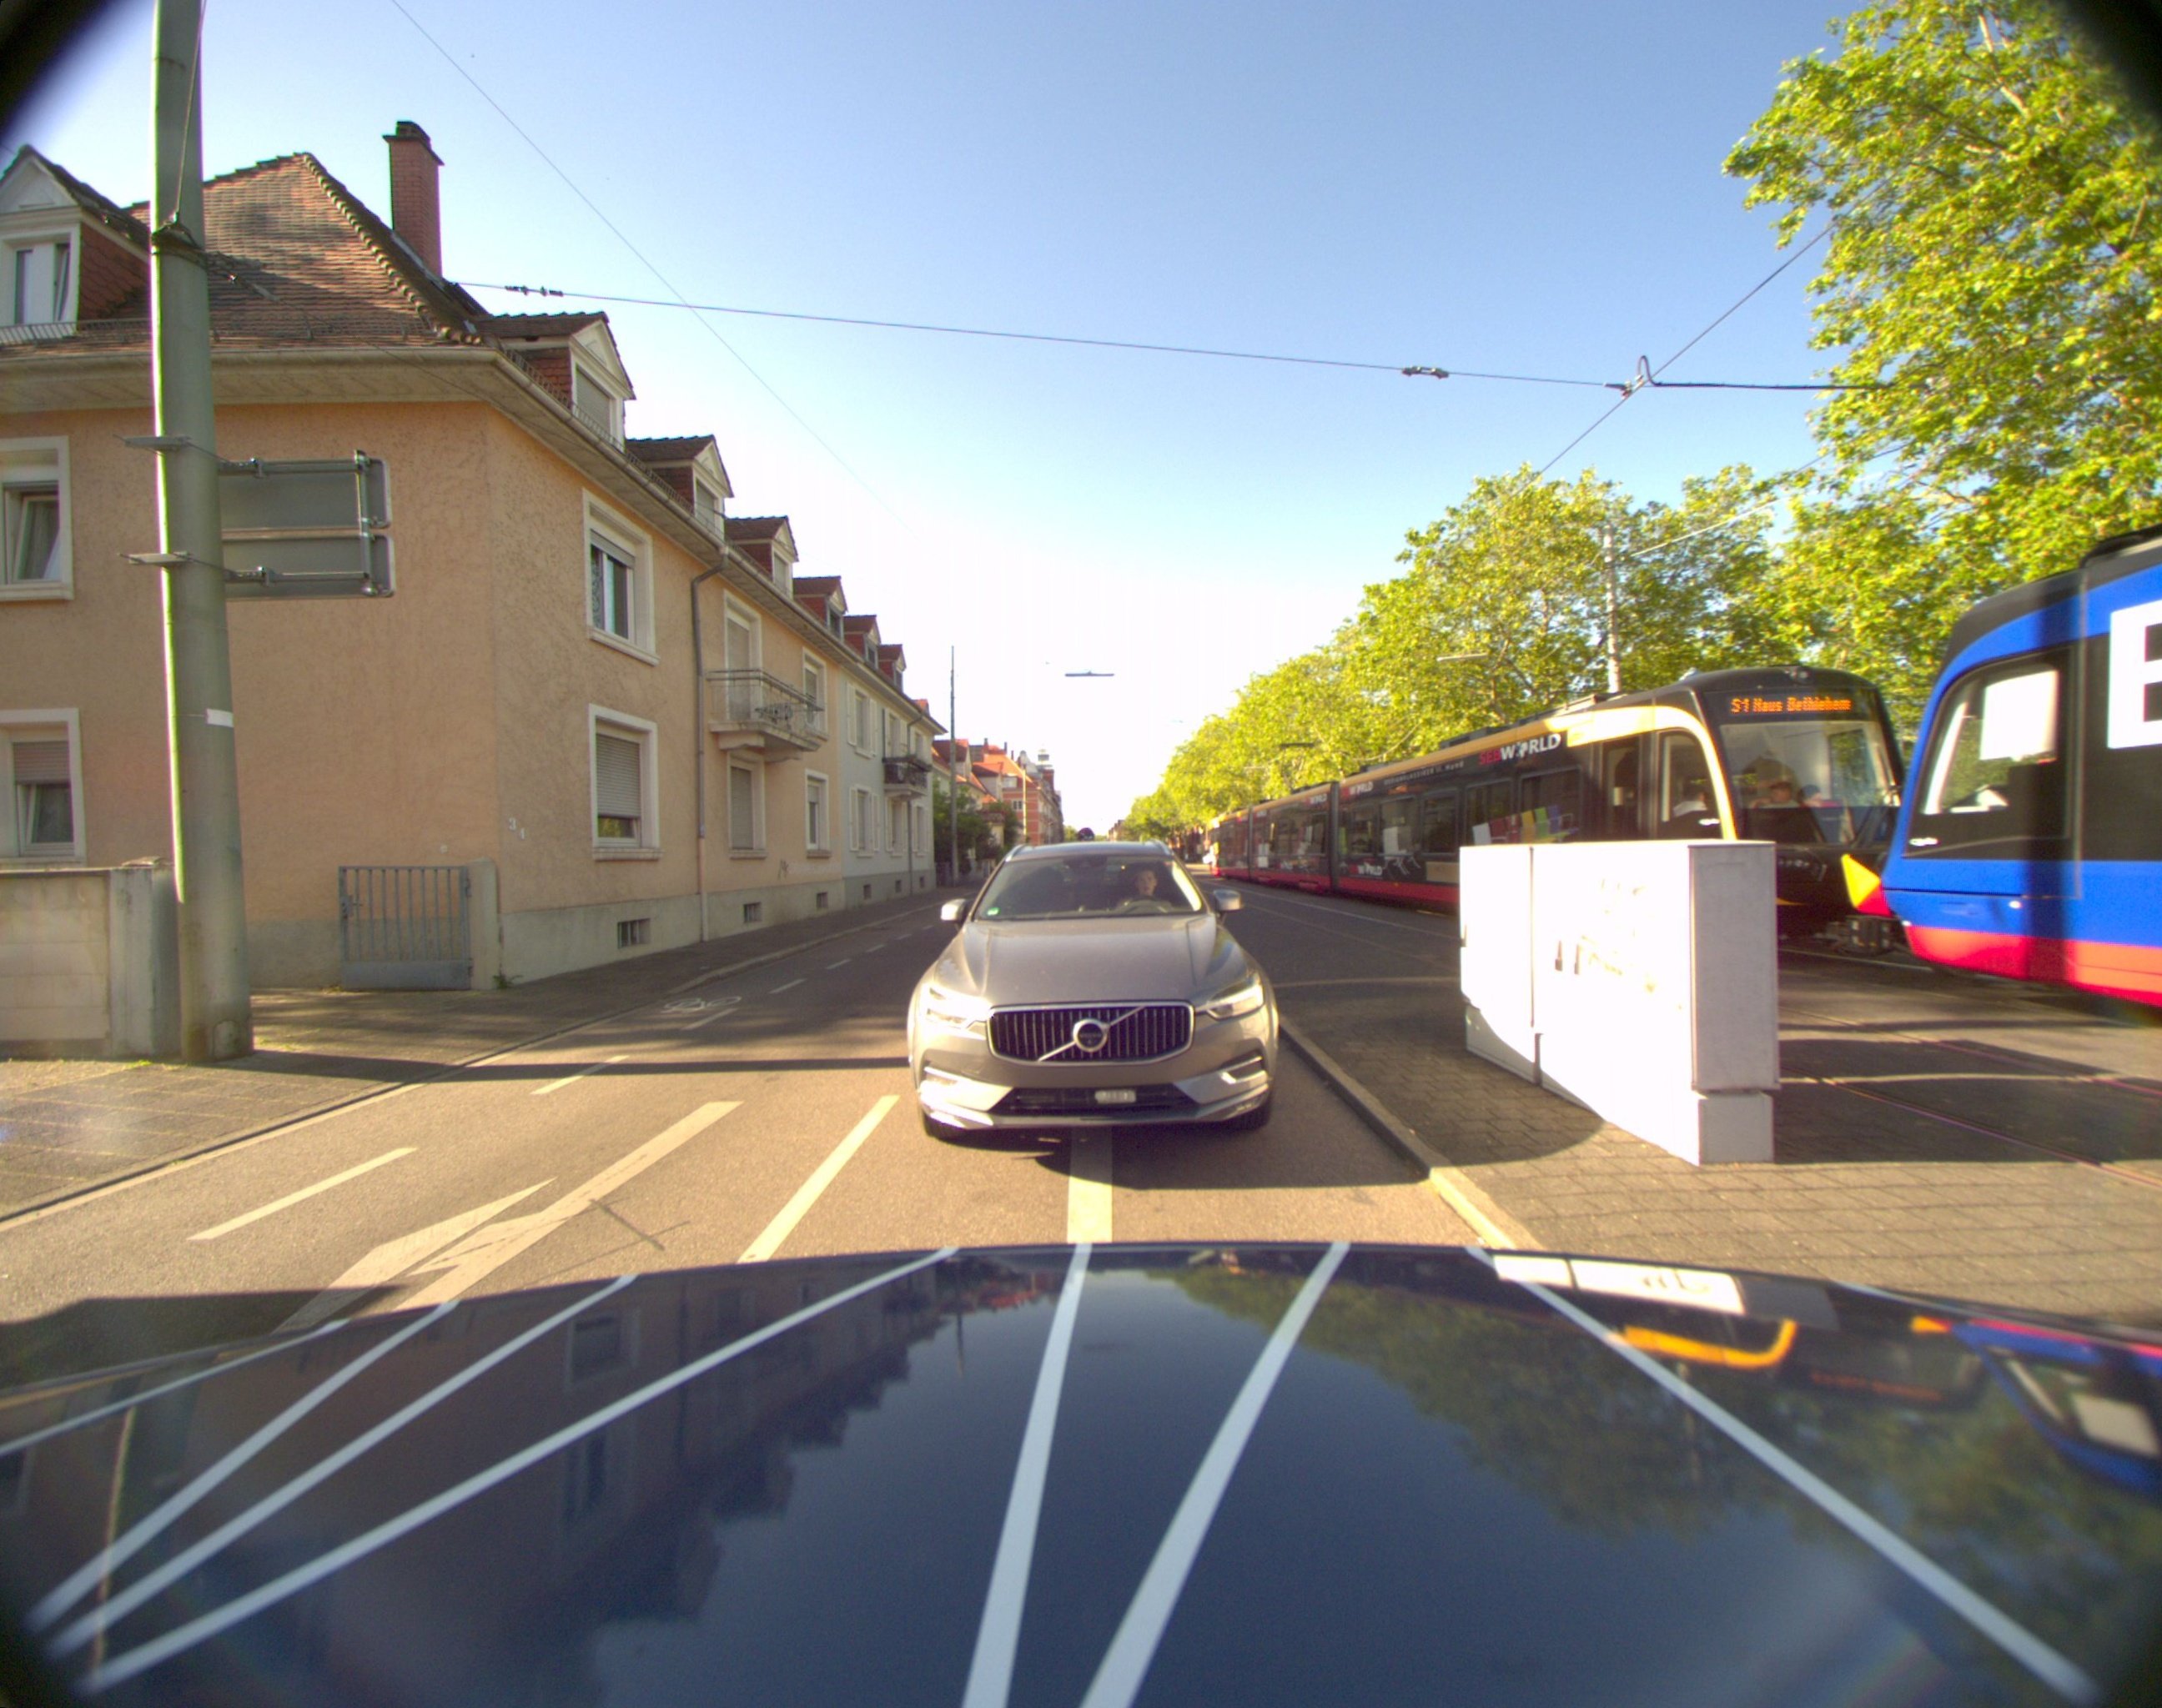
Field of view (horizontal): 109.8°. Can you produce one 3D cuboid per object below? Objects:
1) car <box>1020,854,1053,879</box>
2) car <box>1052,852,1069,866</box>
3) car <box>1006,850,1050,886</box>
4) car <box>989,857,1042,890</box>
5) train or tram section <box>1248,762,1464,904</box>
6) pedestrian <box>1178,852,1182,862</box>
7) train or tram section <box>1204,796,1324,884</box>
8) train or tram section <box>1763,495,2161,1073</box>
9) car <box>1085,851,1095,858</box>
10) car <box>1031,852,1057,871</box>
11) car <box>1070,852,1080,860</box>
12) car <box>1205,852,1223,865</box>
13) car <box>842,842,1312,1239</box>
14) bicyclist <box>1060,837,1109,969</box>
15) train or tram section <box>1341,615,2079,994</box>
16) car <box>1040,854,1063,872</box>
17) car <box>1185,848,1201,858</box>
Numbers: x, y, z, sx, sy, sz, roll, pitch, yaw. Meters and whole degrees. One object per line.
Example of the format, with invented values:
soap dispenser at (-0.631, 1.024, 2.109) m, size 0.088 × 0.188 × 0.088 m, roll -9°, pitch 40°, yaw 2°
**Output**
car at (-2.770, 0.782, 48.467) m, size 1.882 × 1.477 × 3.999 m, roll -1°, pitch 0°, yaw -1°
car at (-2.301, 0.543, 85.742) m, size 1.882 × 1.477 × 3.999 m, roll -1°, pitch 0°, yaw -1°
car at (-2.911, 0.727, 42.840) m, size 1.932 × 1.834 × 5.313 m, roll -1°, pitch 0°, yaw 2°
car at (-3.144, 0.920, 37.154) m, size 1.881 × 1.477 × 4.001 m, roll -1°, pitch 0°, yaw 5°
train or tram section at (8.358, -0.563, 25.402) m, size 3.062 × 3.592 × 11.949 m, roll -1°, pitch 0°, yaw 1°
pedestrian at (15.505, 0.440, 118.642) m, size 0.578 × 1.632 × 0.677 m, roll -1°, pitch 1°, yaw 3°
train or tram section at (8.594, -0.619, 37.815) m, size 3.062 × 3.592 × 12.889 m, roll -1°, pitch 0°, yaw 1°
train or tram section at (8.500, -0.446, 1.353) m, size 3.064 × 3.592 × 12.109 m, roll -1°, pitch 0°, yaw -4°
car at (1.798, 0.100, 152.659) m, size 1.882 × 1.477 × 3.999 m, roll -1°, pitch 0°, yaw -1°
car at (-2.945, 0.582, 61.084) m, size 1.882 × 1.477 × 3.999 m, roll -1°, pitch 0°, yaw -1°
car at (-1.120, 0.303, 148.446) m, size 1.882 × 1.477 × 3.999 m, roll -1°, pitch 0°, yaw -1°
car at (17.631, 0.582, 100.859) m, size 1.882 × 1.542 × 4.000 m, roll -1°, pitch 0°, yaw 2°
car at (0.015, 0.769, 5.402) m, size 1.917 × 1.621 × 4.502 m, roll -1°, pitch 0°, yaw 1°
bicyclist at (0.048, 0.638, 10.205) m, size 0.600 × 1.709 × 0.662 m, roll -1°, pitch 1°, yaw 1°
train or tram section at (8.151, -0.501, 13.386) m, size 3.063 × 3.592 × 12.114 m, roll -1°, pitch 0°, yaw 1°
car at (-2.614, 0.769, 67.035) m, size 1.882 × 1.477 × 3.999 m, roll -1°, pitch 0°, yaw -1°
car at (18.514, -0.146, 125.666) m, size 1.882 × 1.542 × 3.999 m, roll -1°, pitch 0°, yaw -2°
